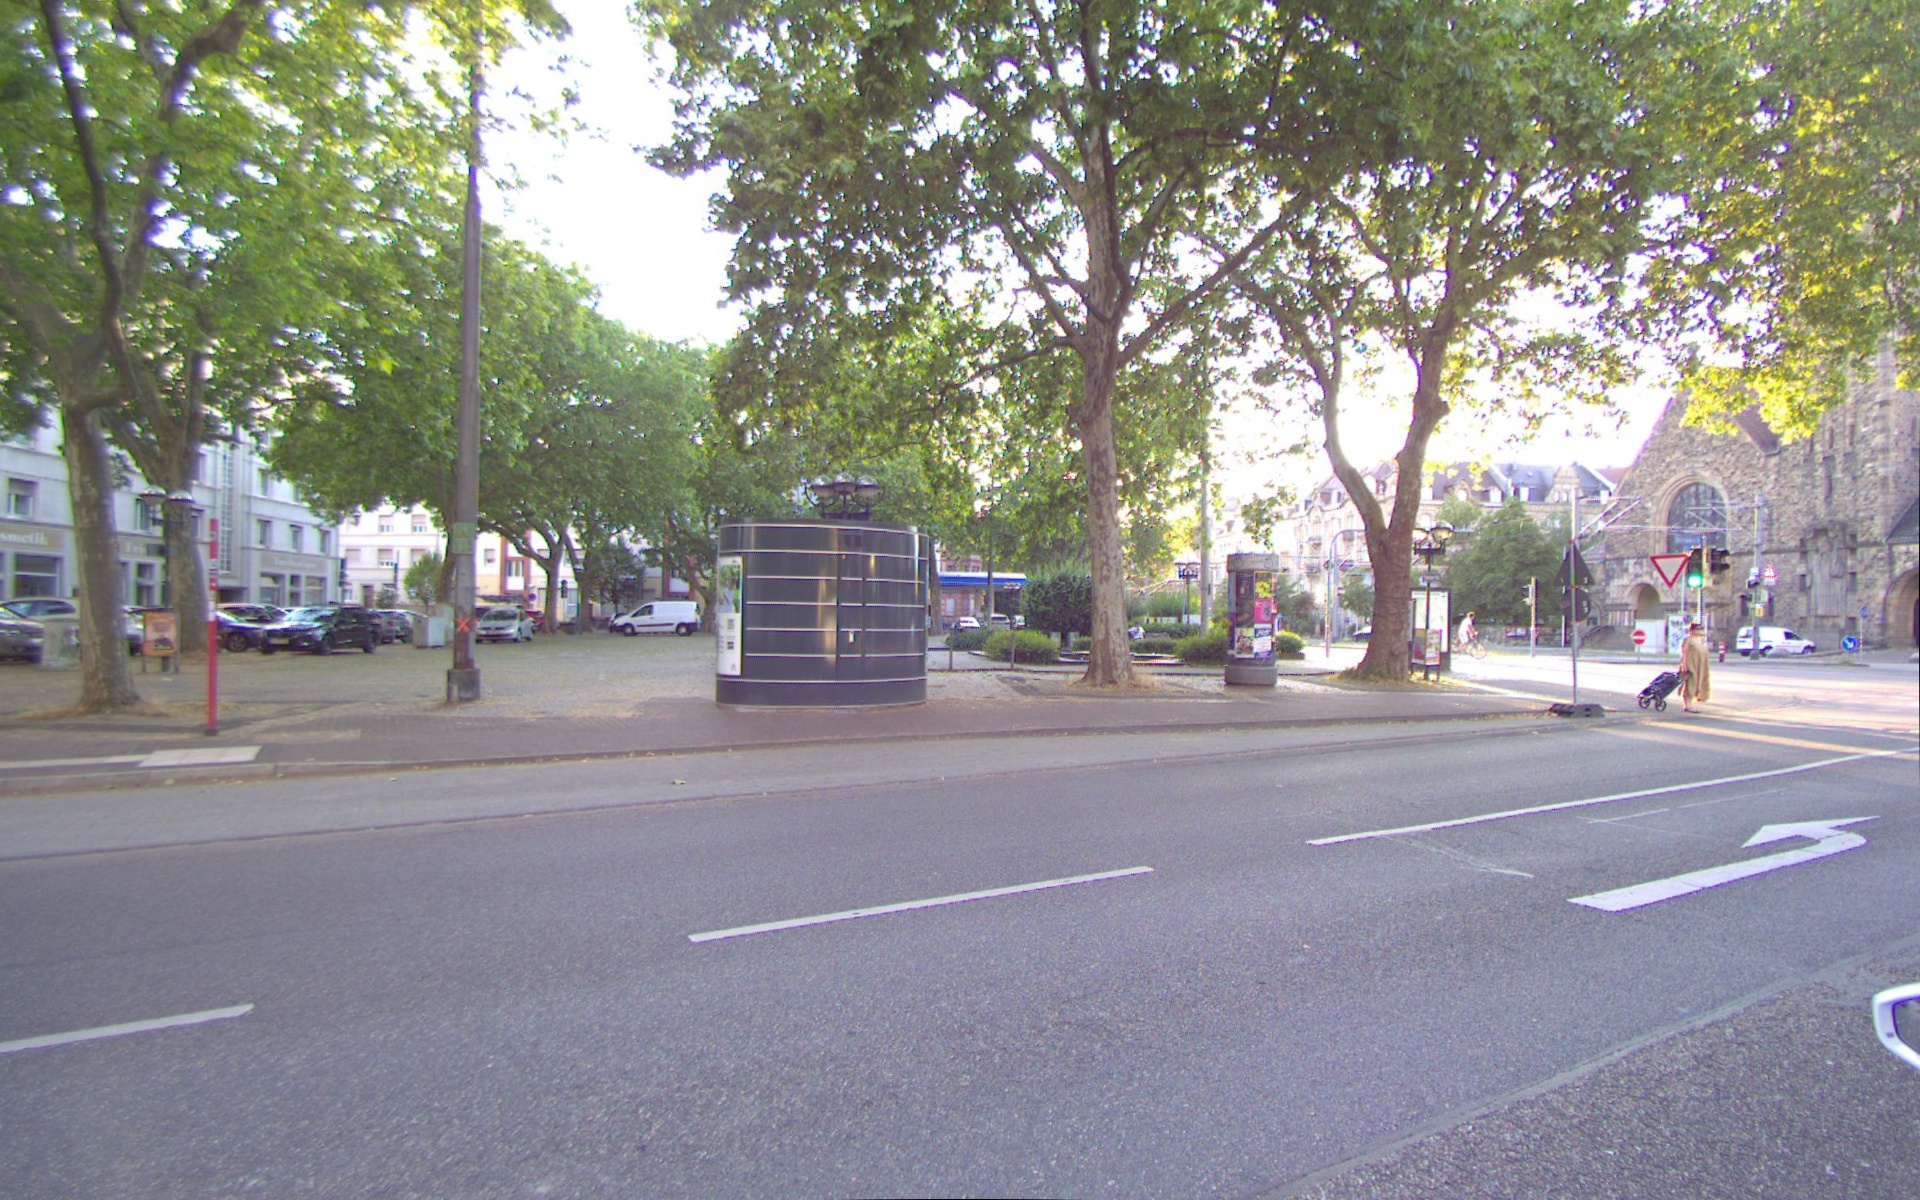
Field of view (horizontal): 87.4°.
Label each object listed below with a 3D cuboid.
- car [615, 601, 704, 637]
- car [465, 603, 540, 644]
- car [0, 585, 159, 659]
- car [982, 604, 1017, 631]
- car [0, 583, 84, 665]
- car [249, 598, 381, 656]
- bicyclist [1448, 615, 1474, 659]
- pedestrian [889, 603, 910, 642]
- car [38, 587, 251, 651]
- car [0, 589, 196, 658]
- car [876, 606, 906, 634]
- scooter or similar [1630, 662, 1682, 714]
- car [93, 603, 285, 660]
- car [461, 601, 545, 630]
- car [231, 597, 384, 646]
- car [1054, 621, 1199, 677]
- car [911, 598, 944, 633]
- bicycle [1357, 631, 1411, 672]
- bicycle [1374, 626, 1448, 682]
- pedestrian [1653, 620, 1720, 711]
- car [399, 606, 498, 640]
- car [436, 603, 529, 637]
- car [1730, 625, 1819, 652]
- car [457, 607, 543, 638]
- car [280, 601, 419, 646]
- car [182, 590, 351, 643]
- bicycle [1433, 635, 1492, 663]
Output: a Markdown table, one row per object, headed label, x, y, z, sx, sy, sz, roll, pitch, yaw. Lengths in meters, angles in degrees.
| label | x | y | z | sx | sy | sz | roll | pitch | yaw |
| --- | --- | --- | --- | --- | --- | --- | --- | --- | --- |
| car | -16.846 | 1.079 | 56.443 | 4.557 | 1.964 | 1.997 | -1 | -2 | -10 |
| car | -19.781 | 0.992 | 43.583 | 1.642 | 1.684 | 3.760 | 2 | 0 | -4 |
| car | -23.672 | 0.592 | 25.693 | 4.557 | 1.805 | 1.997 | -1 | -2 | -10 |
| car | 2.862 | 1.252 | 73.316 | 1.882 | 1.873 | 3.995 | 2 | 0 | -7 |
| car | -23.114 | 0.580 | 22.723 | 4.557 | 1.805 | 1.997 | -1 | -2 | -10 |
| car | -19.212 | 0.807 | 30.102 | 1.642 | 1.549 | 3.760 | 2 | -2 | -4 |
| bicyclist | 22.087 | 1.622 | 44.289 | 0.842 | 1.852 | 0.659 | 1 | 2 | 12 |
| pedestrian | -2.764 | 1.019 | 45.686 | 0.869 | 1.694 | 0.740 | 2 | 0 | -8 |
| car | -24.443 | 0.570 | 30.292 | 4.557 | 1.805 | 1.997 | -1 | -2 | -10 |
| car | -24.394 | 0.665 | 27.935 | 4.557 | 1.805 | 1.997 | -1 | -2 | -10 |
| car | -5.007 | 1.424 | 72.313 | 1.882 | 1.873 | 3.995 | 2 | 0 | -7 |
| scooter or similar | 12.988 | 1.633 | 18.745 | 0.845 | 0.910 | 0.586 | 2 | 0 | -41 |
| car | -25.104 | 1.023 | 32.871 | 4.557 | 1.758 | 1.997 | -1 | -2 | -10 |
| car | -28.279 | 0.959 | 62.307 | 4.572 | 1.758 | 1.990 | 0 | -2 | -22 |
| car | -25.286 | 0.844 | 39.102 | 4.557 | 1.805 | 1.997 | -1 | -2 | -10 |
| car | 5.681 | 1.678 | 34.651 | 4.552 | 1.805 | 1.999 | -1 | -2 | -5 |
| car | -2.365 | 1.101 | 72.559 | 1.963 | 2.374 | 3.995 | 2 | 0 | -7 |
| bicycle | 11.949 | 1.442 | 28.261 | 1.780 | 1.107 | 0.455 | 2 | 0 | -33 |
| bicycle | 11.334 | 1.359 | 25.233 | 1.967 | 1.344 | 0.523 | 2 | 0 | -26 |
| pedestrian | 13.814 | 1.228 | 19.099 | 0.766 | 1.649 | 0.796 | 2 | 0 | -35 |
| car | -27.708 | 1.265 | 54.565 | 4.572 | 1.758 | 1.990 | 0 | -2 | -22 |
| car | -27.187 | 1.153 | 57.341 | 4.578 | 1.834 | 1.992 | 0 | -2 | -20 |
| car | 50.975 | 2.396 | 62.909 | 4.372 | 1.537 | 1.718 | 2 | 0 | -6 |
| car | -27.373 | 1.338 | 59.931 | 4.572 | 1.758 | 1.990 | 0 | -2 | -22 |
| car | -25.579 | 0.986 | 42.230 | 4.557 | 1.758 | 1.997 | -1 | -2 | -10 |
| car | -25.096 | 0.609 | 36.515 | 4.557 | 1.805 | 2.090 | -1 | -2 | -10 |
| bicycle | 22.121 | 2.152 | 44.281 | 2.199 | 1.092 | 0.659 | 1 | 5 | 13 |
